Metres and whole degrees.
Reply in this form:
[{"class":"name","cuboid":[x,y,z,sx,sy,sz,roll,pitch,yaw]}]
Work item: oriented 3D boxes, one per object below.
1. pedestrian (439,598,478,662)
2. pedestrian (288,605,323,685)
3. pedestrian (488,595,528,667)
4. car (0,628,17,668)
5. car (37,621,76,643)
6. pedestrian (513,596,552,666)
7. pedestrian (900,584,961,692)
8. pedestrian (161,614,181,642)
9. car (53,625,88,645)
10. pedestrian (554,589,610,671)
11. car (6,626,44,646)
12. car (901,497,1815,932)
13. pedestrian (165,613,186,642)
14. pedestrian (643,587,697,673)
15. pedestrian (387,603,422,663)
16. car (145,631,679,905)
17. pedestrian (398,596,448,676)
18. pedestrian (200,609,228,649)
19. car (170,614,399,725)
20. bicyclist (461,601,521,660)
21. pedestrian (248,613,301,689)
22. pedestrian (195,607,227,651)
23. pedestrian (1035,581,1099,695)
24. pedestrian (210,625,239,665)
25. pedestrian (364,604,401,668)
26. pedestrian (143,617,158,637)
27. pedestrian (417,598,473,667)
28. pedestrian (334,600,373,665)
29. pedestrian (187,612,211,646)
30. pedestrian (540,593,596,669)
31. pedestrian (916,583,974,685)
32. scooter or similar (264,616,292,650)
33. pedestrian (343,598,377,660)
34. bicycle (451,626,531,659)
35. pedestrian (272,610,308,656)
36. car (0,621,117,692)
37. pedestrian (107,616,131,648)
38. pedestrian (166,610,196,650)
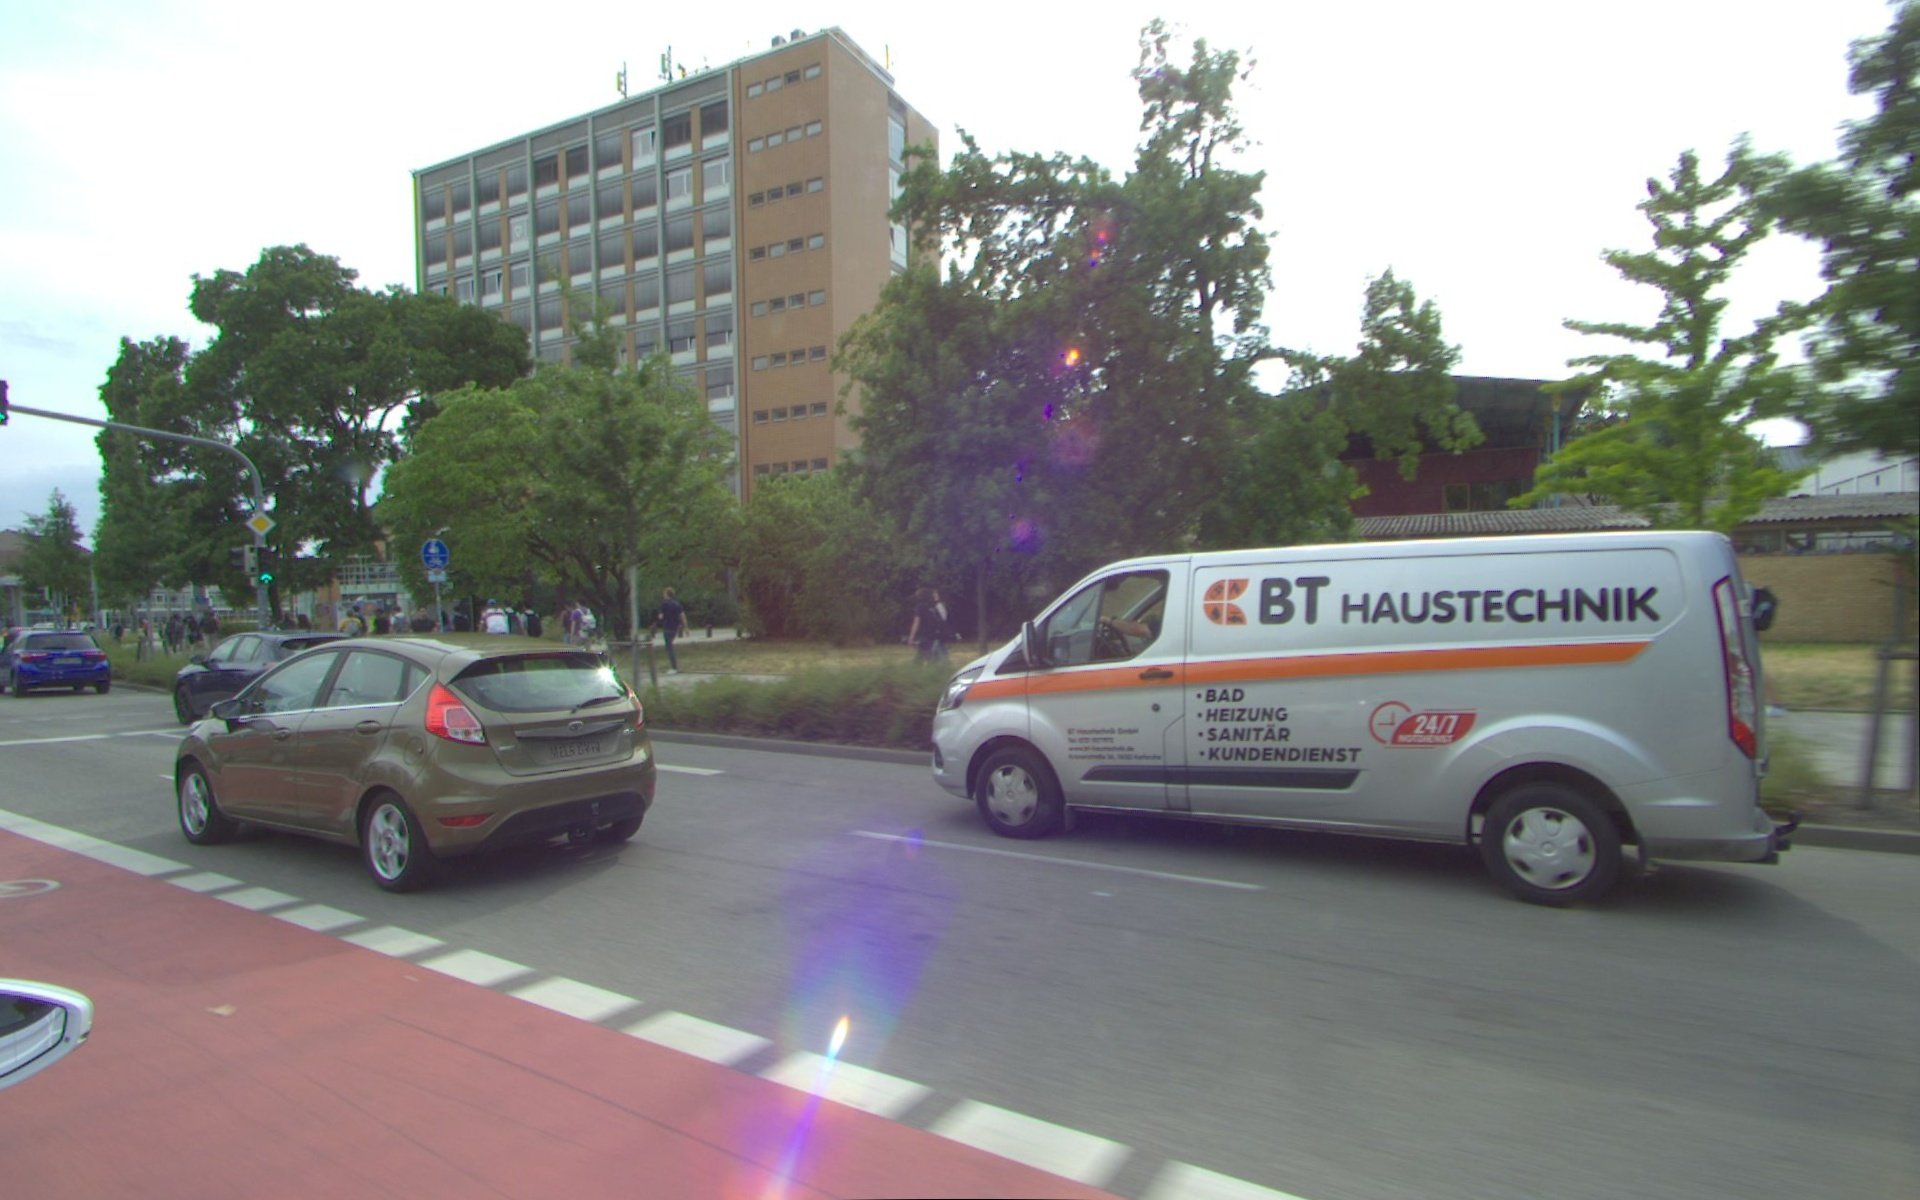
[{"class":"pedestrian","cuboid":[-13.915,0.822,27.787,0.699,1.734,0.636,-1,2,35]},{"class":"pedestrian","cuboid":[-14.589,0.998,22.314,0.580,1.733,0.478,-1,-1,38]},{"class":"pedestrian","cuboid":[-11.095,0.769,24.591,0.699,1.733,0.636,-1,-1,35]},{"class":"car","cuboid":[-36.937,1.787,37.398,2.114,1.438,3.673,1,-2,-38]},{"class":"car","cuboid":[-62.301,2.202,69.077,1.689,1.438,3.673,1,-2,-37]},{"class":"pedestrian","cuboid":[-10.752,0.790,25.203,0.699,1.733,0.636,-1,-1,35]},{"class":"pedestrian","cuboid":[-0.481,0.624,16.625,0.785,1.733,0.839,0,-1,17]},{"class":"pedestrian","cuboid":[-46.544,1.646,59.086,0.769,1.595,0.807,-3,1,-32]},{"class":"car","cuboid":[-66.529,2.619,74.917,1.689,1.438,3.673,1,-2,-37]},{"class":"pedestrian","cuboid":[-8.247,0.663,21.849,0.789,1.733,0.835,-1,-1,35]},{"class":"car","cuboid":[-69.656,2.678,74.655,1.696,1.438,3.971,1,-2,-37]},{"class":"car","cuboid":[2.209,0.603,6.735,5.131,1.984,1.816,-1,-2,32]},{"class":"pedestrian","cuboid":[-45.351,1.584,57.896,0.769,1.595,0.807,-3,1,-32]},{"class":"pedestrian","cuboid":[-6.339,0.661,21.908,0.789,1.831,0.835,-1,-1,35]},{"class":"pedestrian","cuboid":[-16.226,0.949,29.237,0.699,1.733,0.636,-1,0,35]},{"class":"car","cuboid":[-3.851,0.937,6.912,3.647,1.422,1.692,-1,-2,32]},{"class":"pedestrian","cuboid":[-11.883,0.793,22.162,0.684,1.733,0.730,-1,-1,35]},{"class":"pedestrian","cuboid":[-33.271,1.303,44.662,0.801,1.733,0.776,-1,-1,35]},{"class":"car","cuboid":[-10.427,1.017,15.406,3.583,1.527,1.663,-1,-2,33]},{"class":"bicyclist","cuboid":[-10.431,0.684,22.287,0.999,1.293,0.835,-1,-2,35]},{"class":"pedestrian","cuboid":[-16.018,1.183,23.412,0.829,1.733,0.794,-1,-2,38]},{"class":"pedestrian","cuboid":[-30.409,1.176,40.650,1.014,1.733,0.776,-1,-1,35]},{"class":"pedestrian","cuboid":[1.678,0.600,15.733,0.787,1.733,0.712,-1,-1,29]},{"class":"pedestrian","cuboid":[-31.993,1.965,43.551,0.801,1.733,0.776,-1,-1,35]},{"class":"pedestrian","cuboid":[-15.950,0.988,27.658,0.699,1.733,0.636,-1,-1,35]},{"class":"pedestrian","cuboid":[-67.406,2.246,83.403,0.769,1.595,0.807,-3,1,-32]},{"class":"pedestrian","cuboid":[-12.206,0.764,23.732,0.789,1.564,0.834,-1,3,35]},{"class":"pedestrian","cuboid":[-16.384,0.870,27.054,0.699,1.734,0.636,-1,1,35]},{"class":"pedestrian","cuboid":[-37.569,1.419,49.433,0.769,1.595,0.807,-3,1,-32]},{"class":"pedestrian","cuboid":[-9.233,0.729,23.602,0.999,1.733,0.835,-1,-2,35]},{"class":"pedestrian","cuboid":[-0.258,0.591,17.521,0.785,1.733,0.839,0,-1,17]},{"class":"scooter or similar","cuboid":[-27.548,1.332,40.444,1.128,1.388,0.398,-1,-1,23]},{"class":"pedestrian","cuboid":[-18.707,0.898,31.226,0.699,1.877,0.636,-1,1,35]},{"class":"bicycle","cuboid":[-10.442,0.935,22.292,1.821,0.702,0.838,-2,-2,36]},{"class":"pedestrian","cuboid":[-23.939,1.179,35.763,0.801,1.595,0.775,-1,2,35]},{"class":"car","cuboid":[-21.697,1.321,24.028,3.961,1.552,1.847,-2,-2,44]},{"class":"pedestrian","cuboid":[-42.813,1.631,50.992,0.769,1.595,0.807,-3,1,-32]},{"class":"pedestrian","cuboid":[-34.095,1.317,43.829,1.014,1.733,0.776,-1,-1,35]}]
